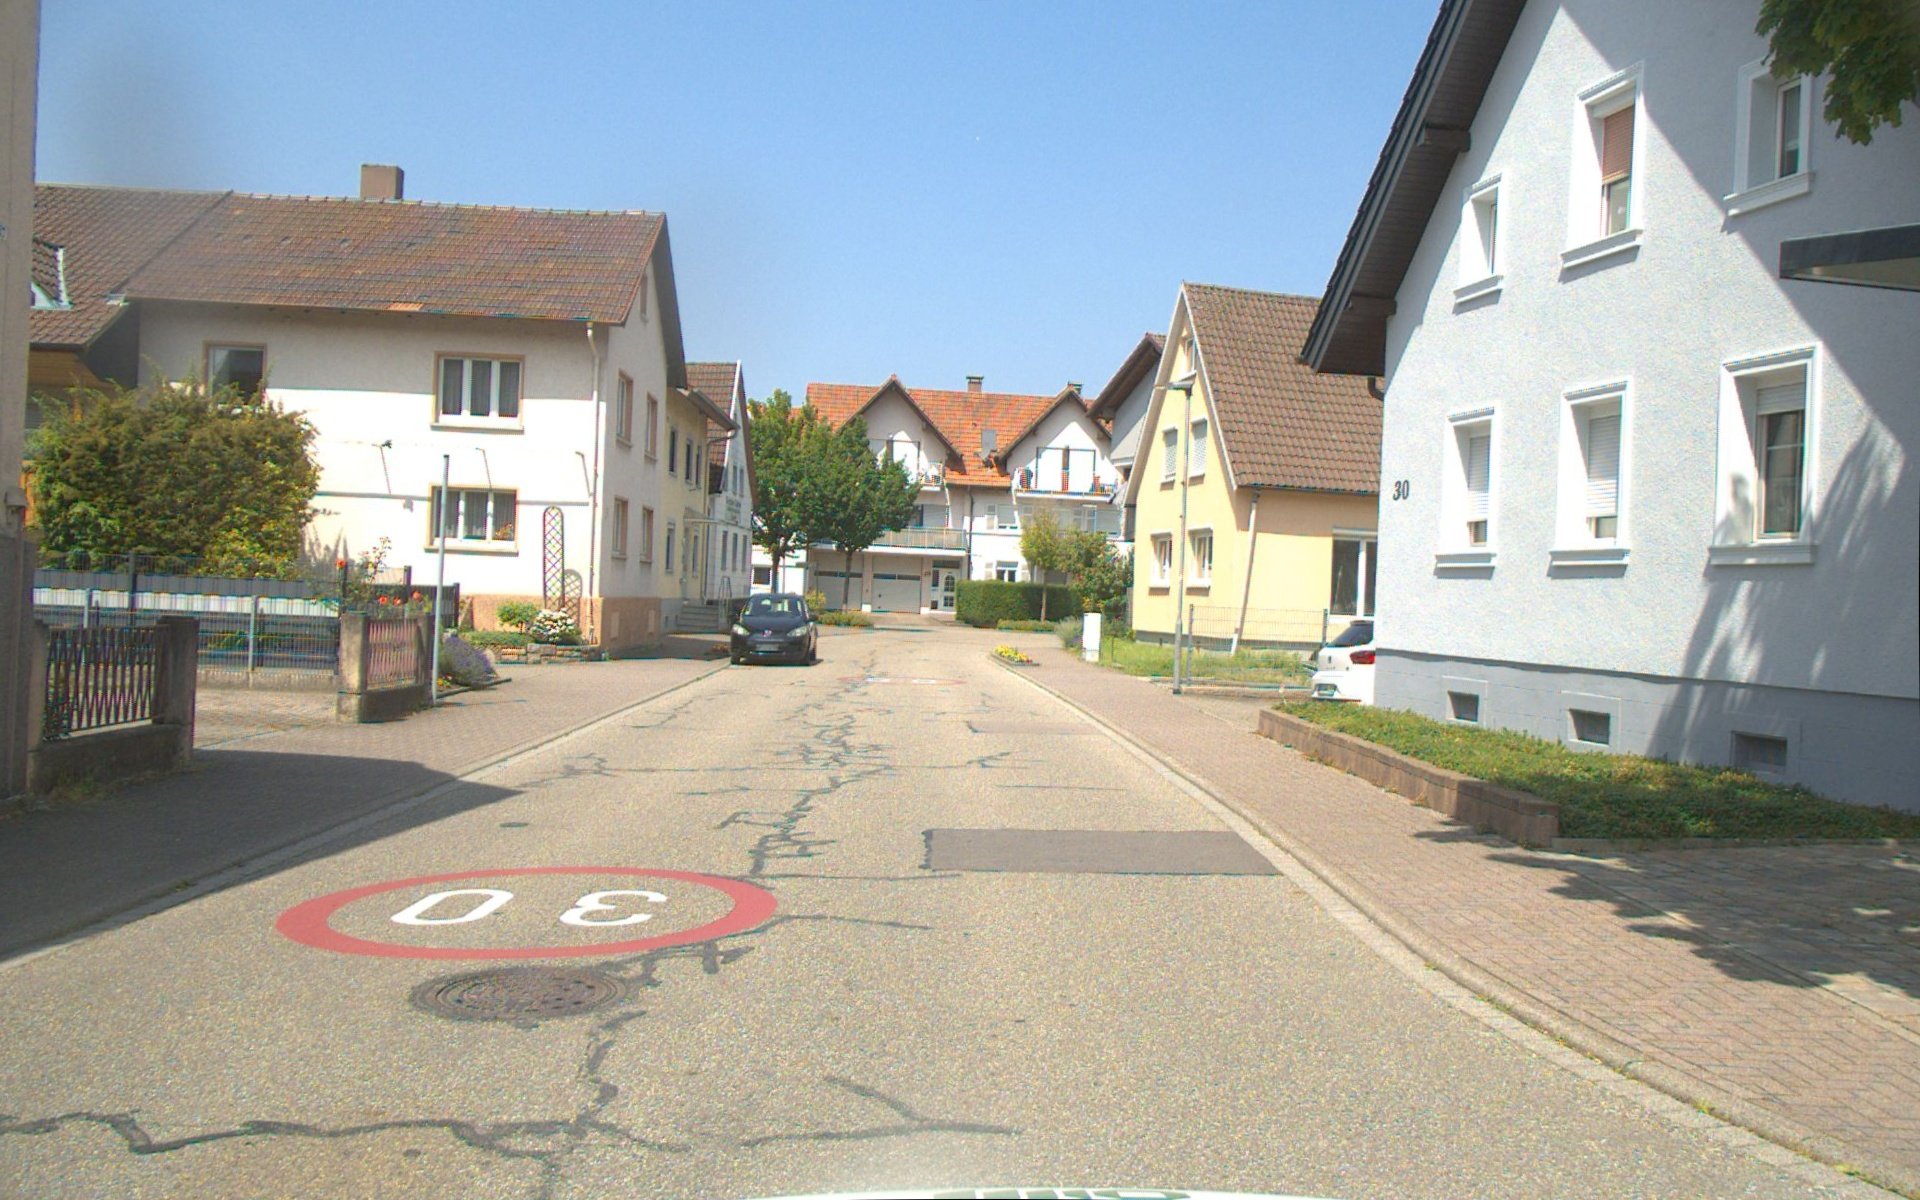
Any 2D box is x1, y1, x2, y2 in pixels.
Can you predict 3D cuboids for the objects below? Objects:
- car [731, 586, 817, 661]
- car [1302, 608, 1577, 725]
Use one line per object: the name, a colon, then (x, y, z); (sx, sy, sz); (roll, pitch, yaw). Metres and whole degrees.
car: (-3.967, 0.466, 35.716); (1.594, 1.512, 3.997); (1, 0, -3)
car: (5.970, 0.820, 20.723); (2.986, 1.369, 1.419); (1, -1, -9)
